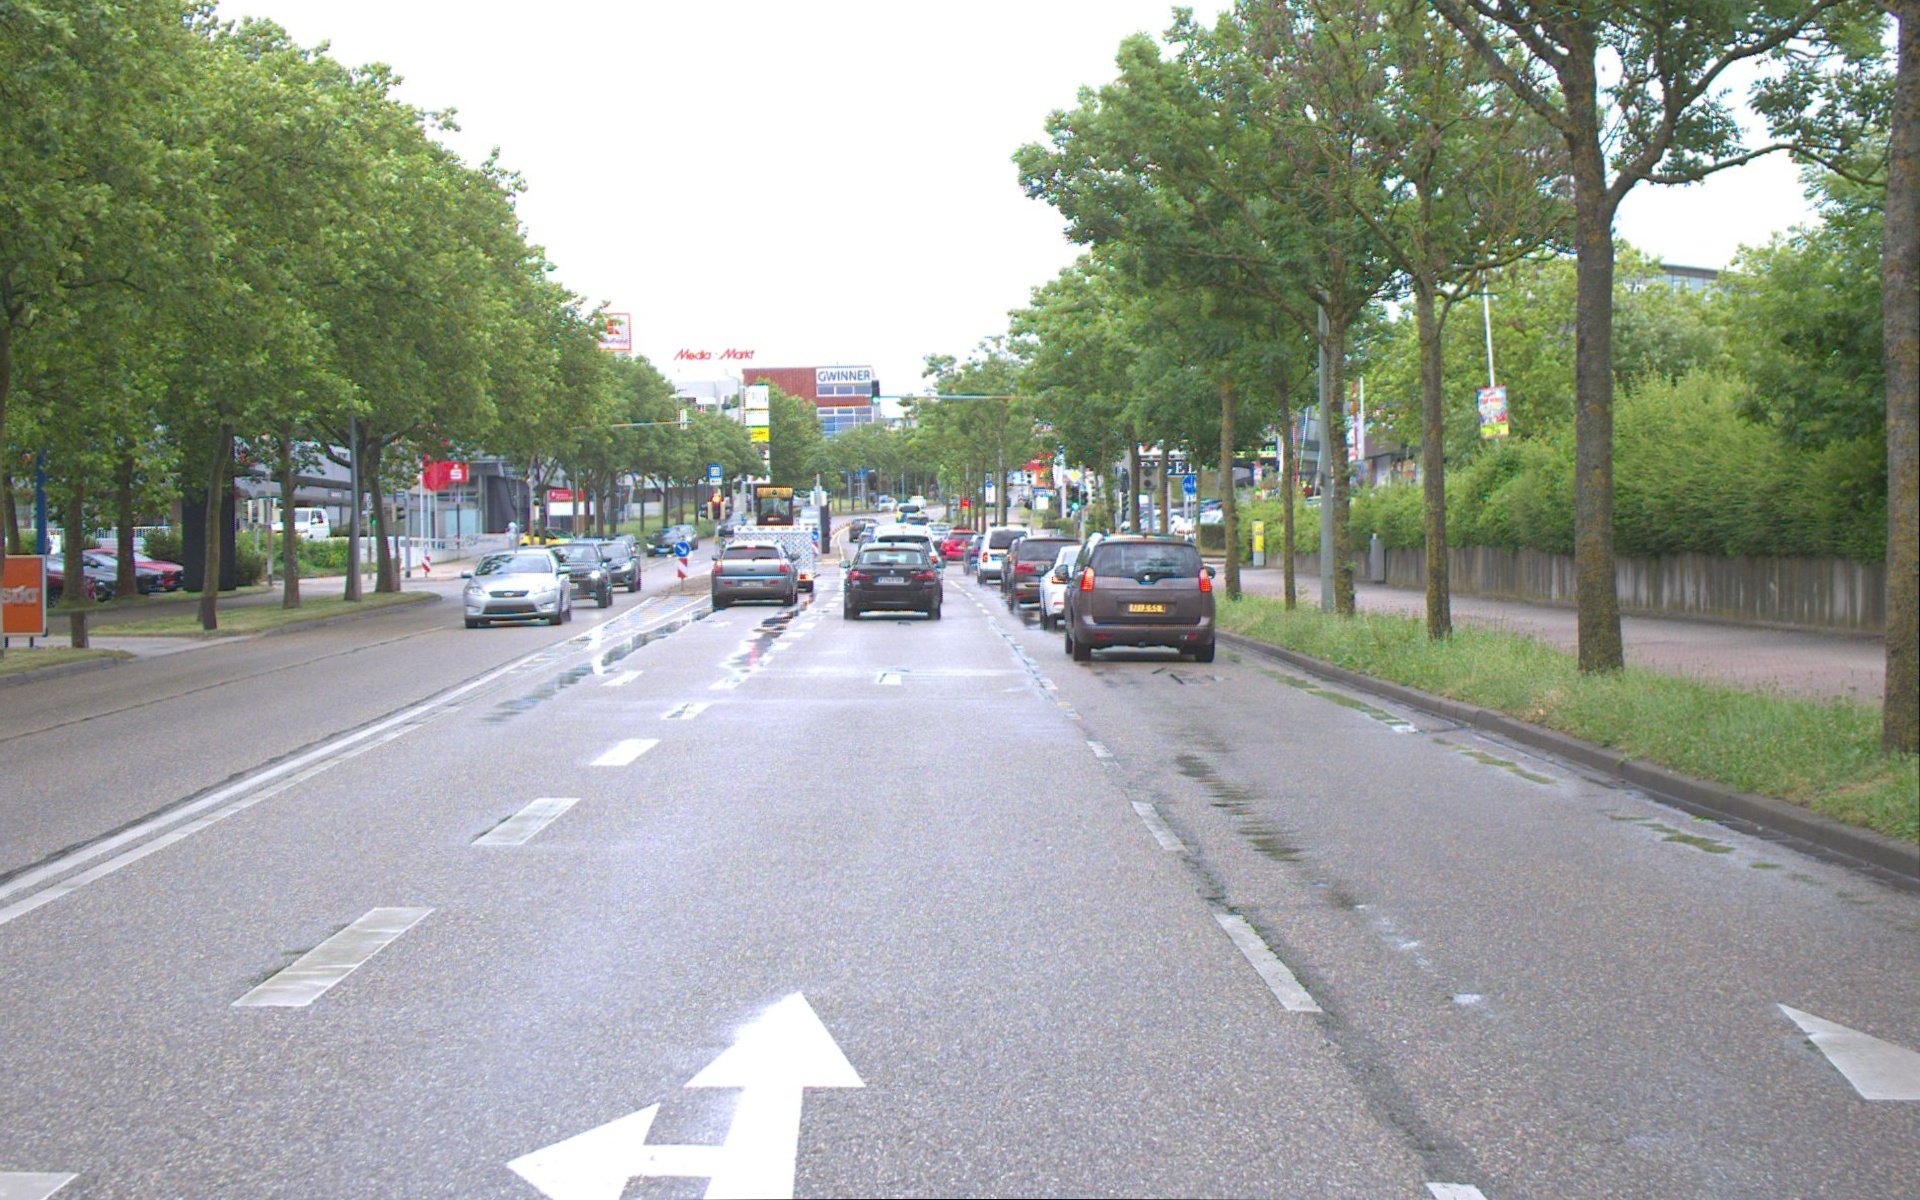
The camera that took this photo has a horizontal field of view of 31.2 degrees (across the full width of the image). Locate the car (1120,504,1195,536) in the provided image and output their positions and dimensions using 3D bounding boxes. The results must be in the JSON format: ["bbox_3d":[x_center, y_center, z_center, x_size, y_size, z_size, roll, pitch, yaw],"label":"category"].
[{"bbox_3d":[9.929,-4.002,172.731,3.589,1.530,1.643,-2,2,-40],"label":"car"}]

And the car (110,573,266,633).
[{"bbox_3d":[-23.372,0.081,104.091,4.217,1.590,2.000,-3,2,-24],"label":"car"}]

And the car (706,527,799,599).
[{"bbox_3d":[-4.754,-0.881,79.362,1.907,1.573,4.881,-2,1,-1],"label":"car"}]

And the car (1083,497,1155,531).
[{"bbox_3d":[9.337,-5.068,202.213,4.111,1.898,1.800,-2,2,1],"label":"car"}]

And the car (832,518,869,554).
[{"bbox_3d":[-6.319,-3.701,198.293,1.993,2.007,4.000,1,0,-1],"label":"car"}]

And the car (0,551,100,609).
[{"bbox_3d":[-26.416,-0.573,95.701,4.553,1.590,2.000,0,1,-23],"label":"car"}]

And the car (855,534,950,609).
[{"bbox_3d":[-1.141,-0.569,66.503,1.781,1.393,4.001,0,1,-2],"label":"car"}]

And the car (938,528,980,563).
[{"bbox_3d":[-0.066,-2.285,144.086,1.695,1.438,3.989,-1,1,-1],"label":"car"}]

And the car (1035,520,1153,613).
[{"bbox_3d":[2.299,-0.612,60.130,1.801,1.539,4.620,1,1,-1],"label":"car"}]

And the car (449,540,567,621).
[{"bbox_3d":[-8.671,-0.403,66.283,1.993,1.424,4.686,-2,1,-5],"label":"car"}]

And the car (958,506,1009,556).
[{"bbox_3d":[0.813,-2.399,120.551,1.685,1.678,3.403,1,0,-1],"label":"car"}]

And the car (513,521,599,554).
[{"bbox_3d":[-20.385,-3.144,173.391,3.994,1.546,1.896,0,2,33],"label":"car"}]

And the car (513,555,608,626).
[{"bbox_3d":[-9.372,-0.238,80.822,1.762,1.526,3.858,-3,1,-1],"label":"car"}]

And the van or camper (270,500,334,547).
[{"bbox_3d":[-29.000,-3.367,151.651,1.993,1.960,4.789,1,0,-2],"label":"van or camper"}]

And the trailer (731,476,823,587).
[{"bbox_3d":[-4.997,-1.882,94.542,2.372,2.887,5.546,-2,1,-2],"label":"trailer"}]

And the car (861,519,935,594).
[{"bbox_3d":[-1.737,-1.195,95.558,1.993,2.007,4.000,1,0,-1],"label":"car"}]

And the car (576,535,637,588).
[{"bbox_3d":[-10.361,-1.132,100.569,1.666,1.457,4.182,-2,1,-7],"label":"car"}]

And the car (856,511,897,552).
[{"bbox_3d":[-4.189,-3.450,173.692,1.993,2.007,4.000,1,0,-1],"label":"car"}]

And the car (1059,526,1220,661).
[{"bbox_3d":[2.253,-0.129,44.194,1.726,1.619,4.471,-1,1,-1],"label":"car"}]

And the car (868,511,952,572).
[{"bbox_3d":[-1.209,-1.398,81.003,1.682,1.372,4.001,-1,1,-5],"label":"car"}]

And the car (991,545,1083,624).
[{"bbox_3d":[1.634,-0.357,74.351,1.801,1.581,4.451,1,2,-1],"label":"car"}]

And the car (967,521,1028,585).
[{"bbox_3d":[1.143,-1.467,105.990,1.782,1.860,4.000,-1,1,0],"label":"car"}]

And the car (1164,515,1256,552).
[{"bbox_3d":[11.279,-2.986,154.783,1.930,1.571,4.278,0,2,40],"label":"car"}]
